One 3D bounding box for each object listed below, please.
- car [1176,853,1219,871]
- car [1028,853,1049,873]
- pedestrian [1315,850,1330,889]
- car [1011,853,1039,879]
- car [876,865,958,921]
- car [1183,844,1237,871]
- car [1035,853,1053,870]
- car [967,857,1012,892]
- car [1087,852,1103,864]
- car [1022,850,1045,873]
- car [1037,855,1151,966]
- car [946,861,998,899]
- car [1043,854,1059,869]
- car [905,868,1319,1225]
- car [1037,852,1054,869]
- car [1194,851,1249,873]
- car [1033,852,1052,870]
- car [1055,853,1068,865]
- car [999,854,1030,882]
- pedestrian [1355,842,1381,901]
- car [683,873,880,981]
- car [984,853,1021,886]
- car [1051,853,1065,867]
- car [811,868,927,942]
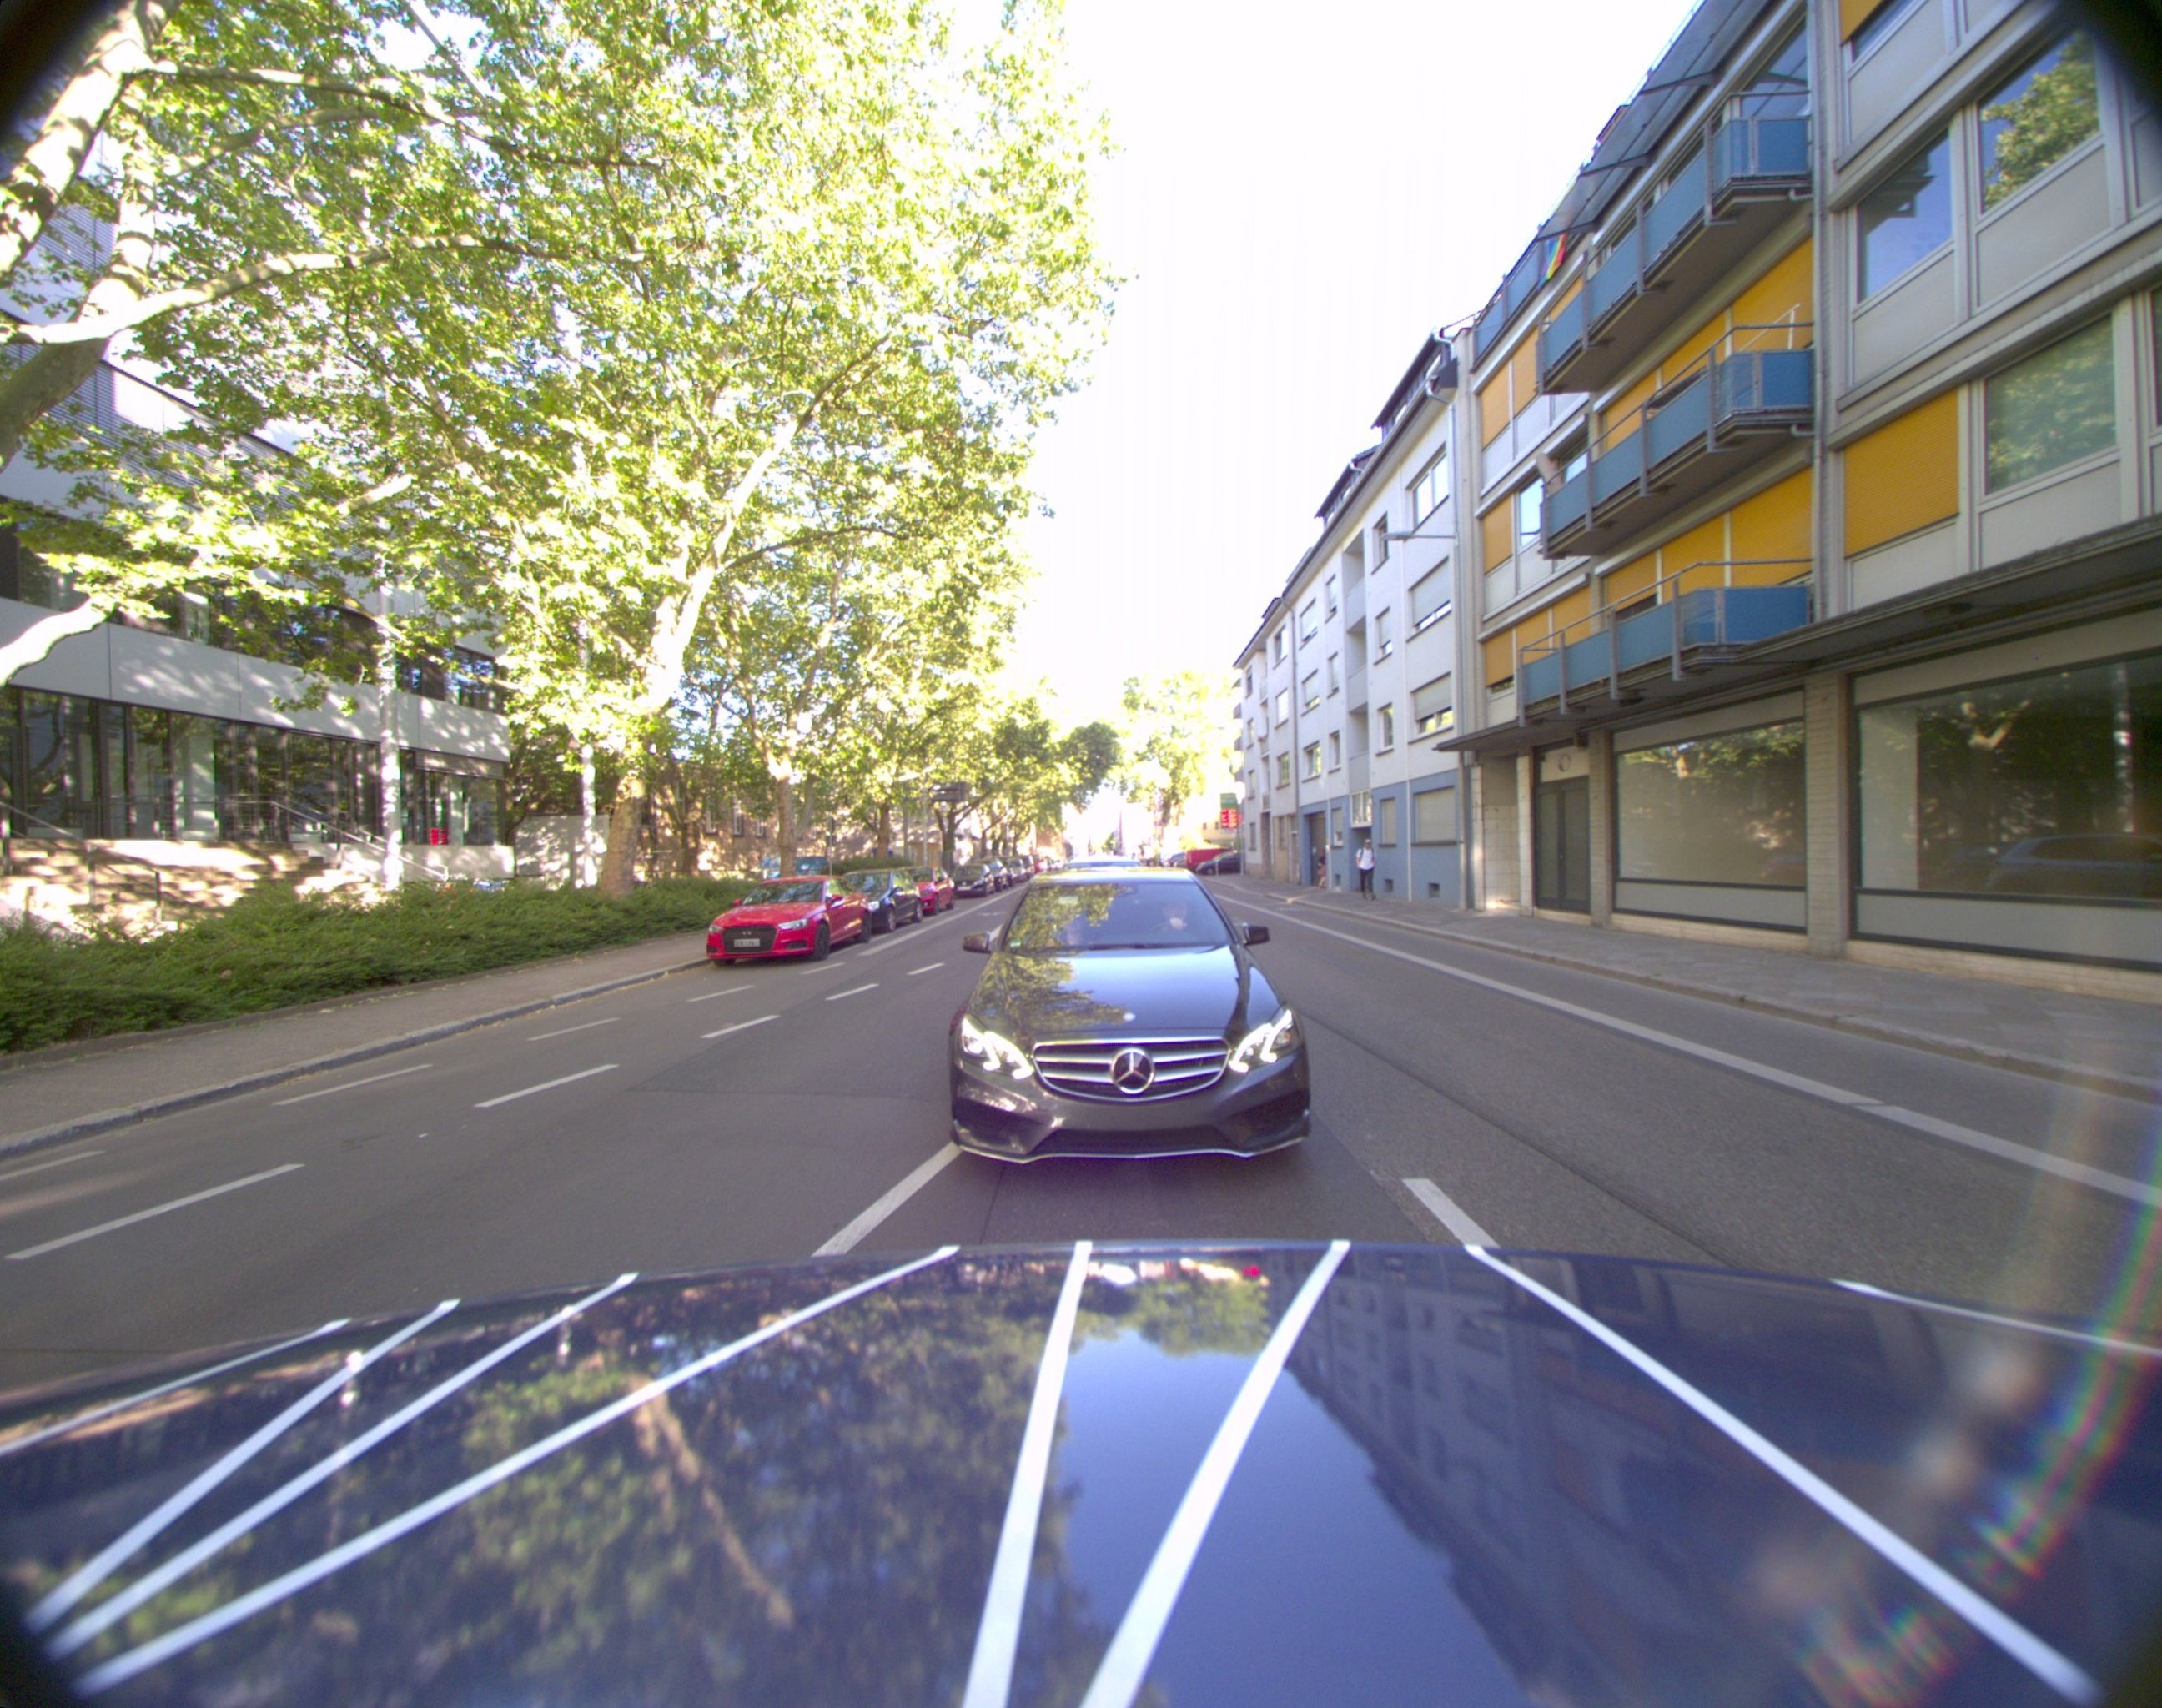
[{"bbox_3d":[9.571,0.644,62.616,3.325,1.241,1.295,-3,0,1],"label":"car"},{"bbox_3d":[-3.938,0.821,71.232,1.635,1.713,3.673,-3,0,1],"label":"car"},{"bbox_3d":[9.441,0.593,29.747,0.343,1.509,0.570,-3,1,3],"label":"pedestrian"},{"bbox_3d":[-4.075,0.832,55.611,1.635,1.799,3.673,-3,0,1],"label":"car"},{"bbox_3d":[-5.003,1.148,23.623,1.635,1.455,3.740,-3,0,1],"label":"car"},{"bbox_3d":[10.181,0.269,60.010,3.927,1.912,1.636,-3,0,1],"label":"car"},{"bbox_3d":[-3.940,0.763,82.065,1.635,1.713,3.673,-3,0,1],"label":"car"},{"bbox_3d":[-4.533,0.974,38.053,1.635,1.578,3.845,-3,0,1],"label":"car"},{"bbox_3d":[1.689,0.484,94.383,1.853,1.455,4.099,-3,0,1],"label":"car"},{"bbox_3d":[-4.128,0.644,66.145,1.635,1.878,3.673,-3,0,1],"label":"car"},{"bbox_3d":[0.227,0.888,13.852,1.680,1.622,4.125,-3,0,1],"label":"car"},{"bbox_3d":[-4.686,1.097,33.167,1.635,1.455,3.740,-3,0,1],"label":"car"},{"bbox_3d":[-3.627,0.930,92.276,1.635,1.713,3.673,-3,0,1],"label":"car"},{"bbox_3d":[0.168,0.915,5.509,1.804,1.455,4.125,-3,0,1],"label":"car"},{"bbox_3d":[-3.953,0.723,86.092,1.635,1.713,3.673,-3,0,1],"label":"car"},{"bbox_3d":[10.082,0.565,54.717,3.670,1.403,1.636,-3,0,1],"label":"car"},{"bbox_3d":[-3.973,0.737,78.243,1.635,1.713,3.673,-3,0,1],"label":"car"},{"bbox_3d":[-2.745,0.720,109.700,1.635,1.713,3.673,-3,0,1],"label":"car"},{"bbox_3d":[-4.411,0.900,50.725,1.635,1.644,3.845,-3,0,1],"label":"car"},{"bbox_3d":[8.524,0.512,22.555,0.569,1.716,0.343,-3,1,1],"label":"pedestrian"},{"bbox_3d":[-5.139,1.165,13.708,1.804,1.455,4.125,-3,0,1],"label":"car"},{"bbox_3d":[-4.498,0.858,44.029,1.635,1.795,3.845,-3,0,1],"label":"car"},{"bbox_3d":[-3.048,0.796,102.735,1.635,1.713,3.673,-3,0,1],"label":"car"},{"bbox_3d":[-5.003,1.149,18.435,1.635,1.455,3.740,-3,0,1],"label":"car"}]
